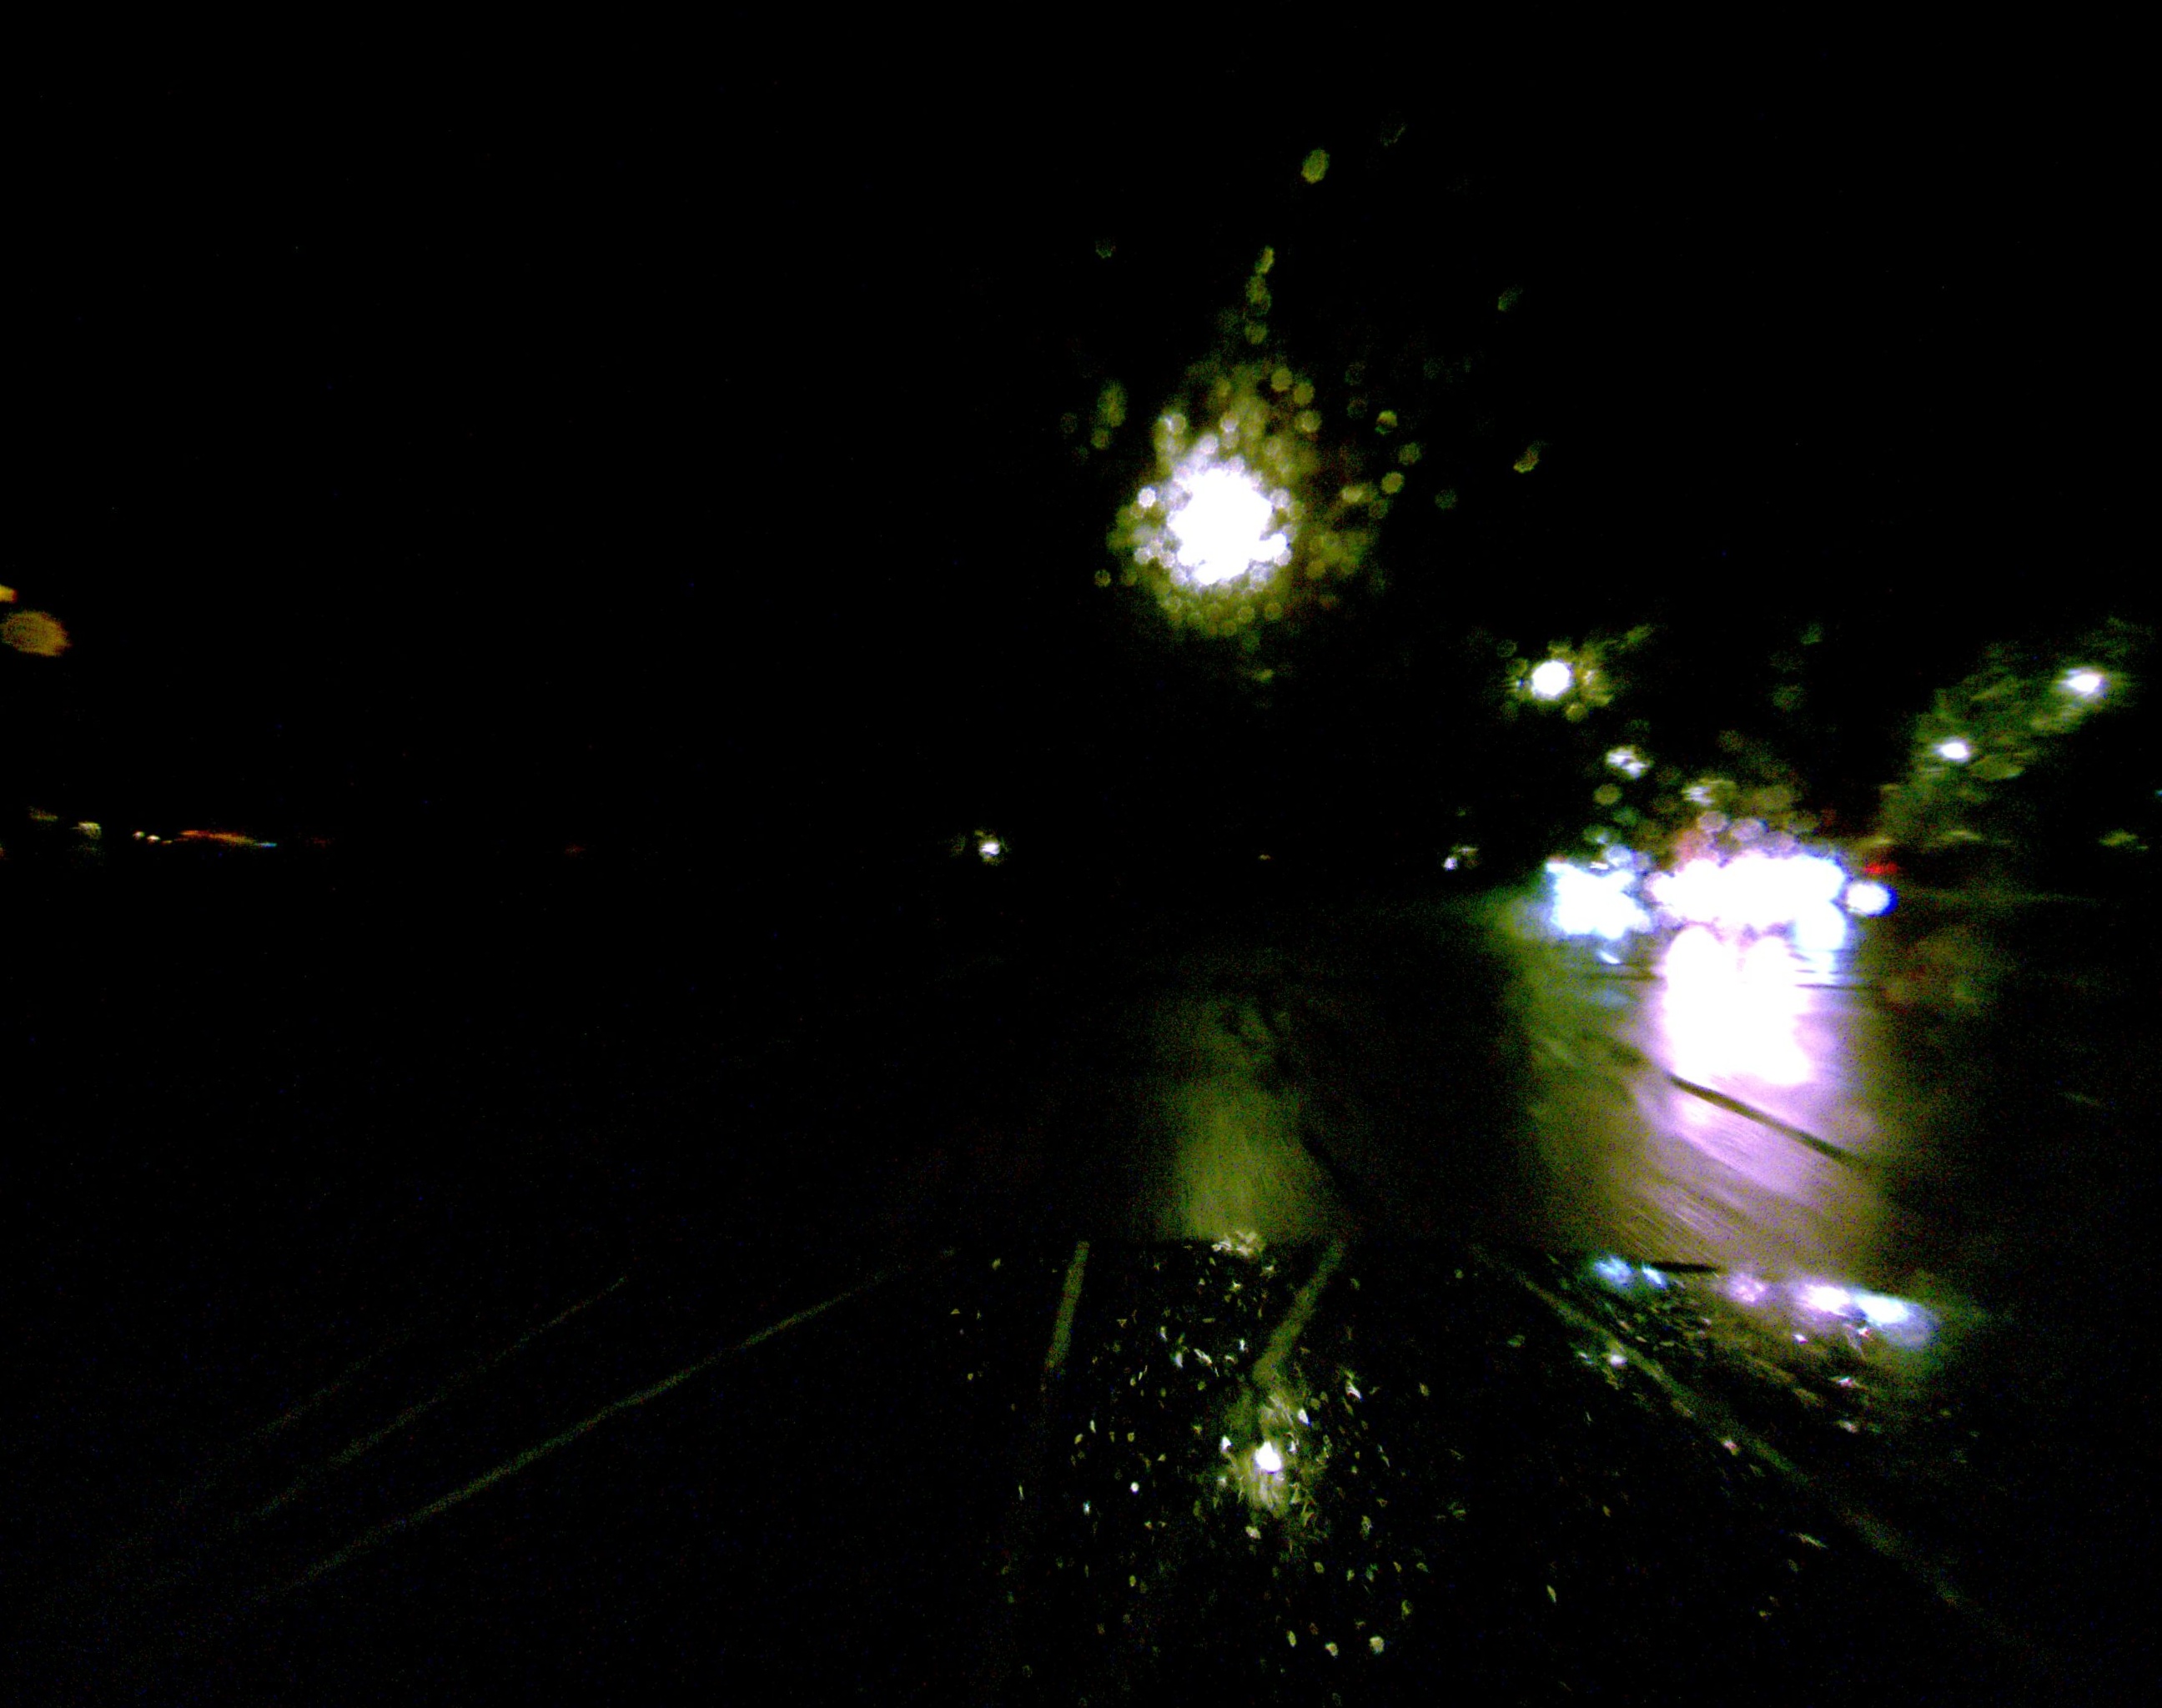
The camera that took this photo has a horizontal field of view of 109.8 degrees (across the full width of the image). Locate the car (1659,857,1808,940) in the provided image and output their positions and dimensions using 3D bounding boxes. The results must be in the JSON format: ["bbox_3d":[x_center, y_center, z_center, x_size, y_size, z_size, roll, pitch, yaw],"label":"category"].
[{"bbox_3d":[14.358,0.862,16.613,4.884,1.518,1.830,0,-1,-42],"label":"car"}]

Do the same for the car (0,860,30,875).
[{"bbox_3d":[-100.393,1.226,69.839,4.158,1.366,1.717,0,-1,-44],"label":"car"}]

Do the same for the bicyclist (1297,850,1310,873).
[{"bbox_3d":[14.322,0.496,48.937,0.604,1.438,0.618,-1,0,34],"label":"bicyclist"}]

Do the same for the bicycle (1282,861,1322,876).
[{"bbox_3d":[14.244,0.953,49.000,2.415,0.971,0.623,-1,0,33],"label":"bicycle"}]

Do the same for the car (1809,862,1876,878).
[{"bbox_3d":[66.452,1.374,66.367,1.829,1.364,3.947,-1,-1,-1],"label":"car"}]

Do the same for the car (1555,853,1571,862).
[{"bbox_3d":[86.002,0.625,135.649,2.064,1.705,5.051,-1,-1,36],"label":"car"}]

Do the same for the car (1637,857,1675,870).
[{"bbox_3d":[78.376,1.268,103.710,2.067,1.705,5.045,-1,-1,10],"label":"car"}]

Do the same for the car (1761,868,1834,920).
[{"bbox_3d":[26.312,1.391,27.865,1.830,1.696,4.203,-1,-1,45],"label":"car"}]

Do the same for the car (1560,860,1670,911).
[{"bbox_3d":[19.772,1.090,28.097,4.450,1.709,1.947,0,0,-36],"label":"car"}]

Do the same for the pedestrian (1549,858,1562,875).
[{"bbox_3d":[40.987,1.106,65.608,0.726,1.476,0.837,-1,0,18],"label":"pedestrian"}]
